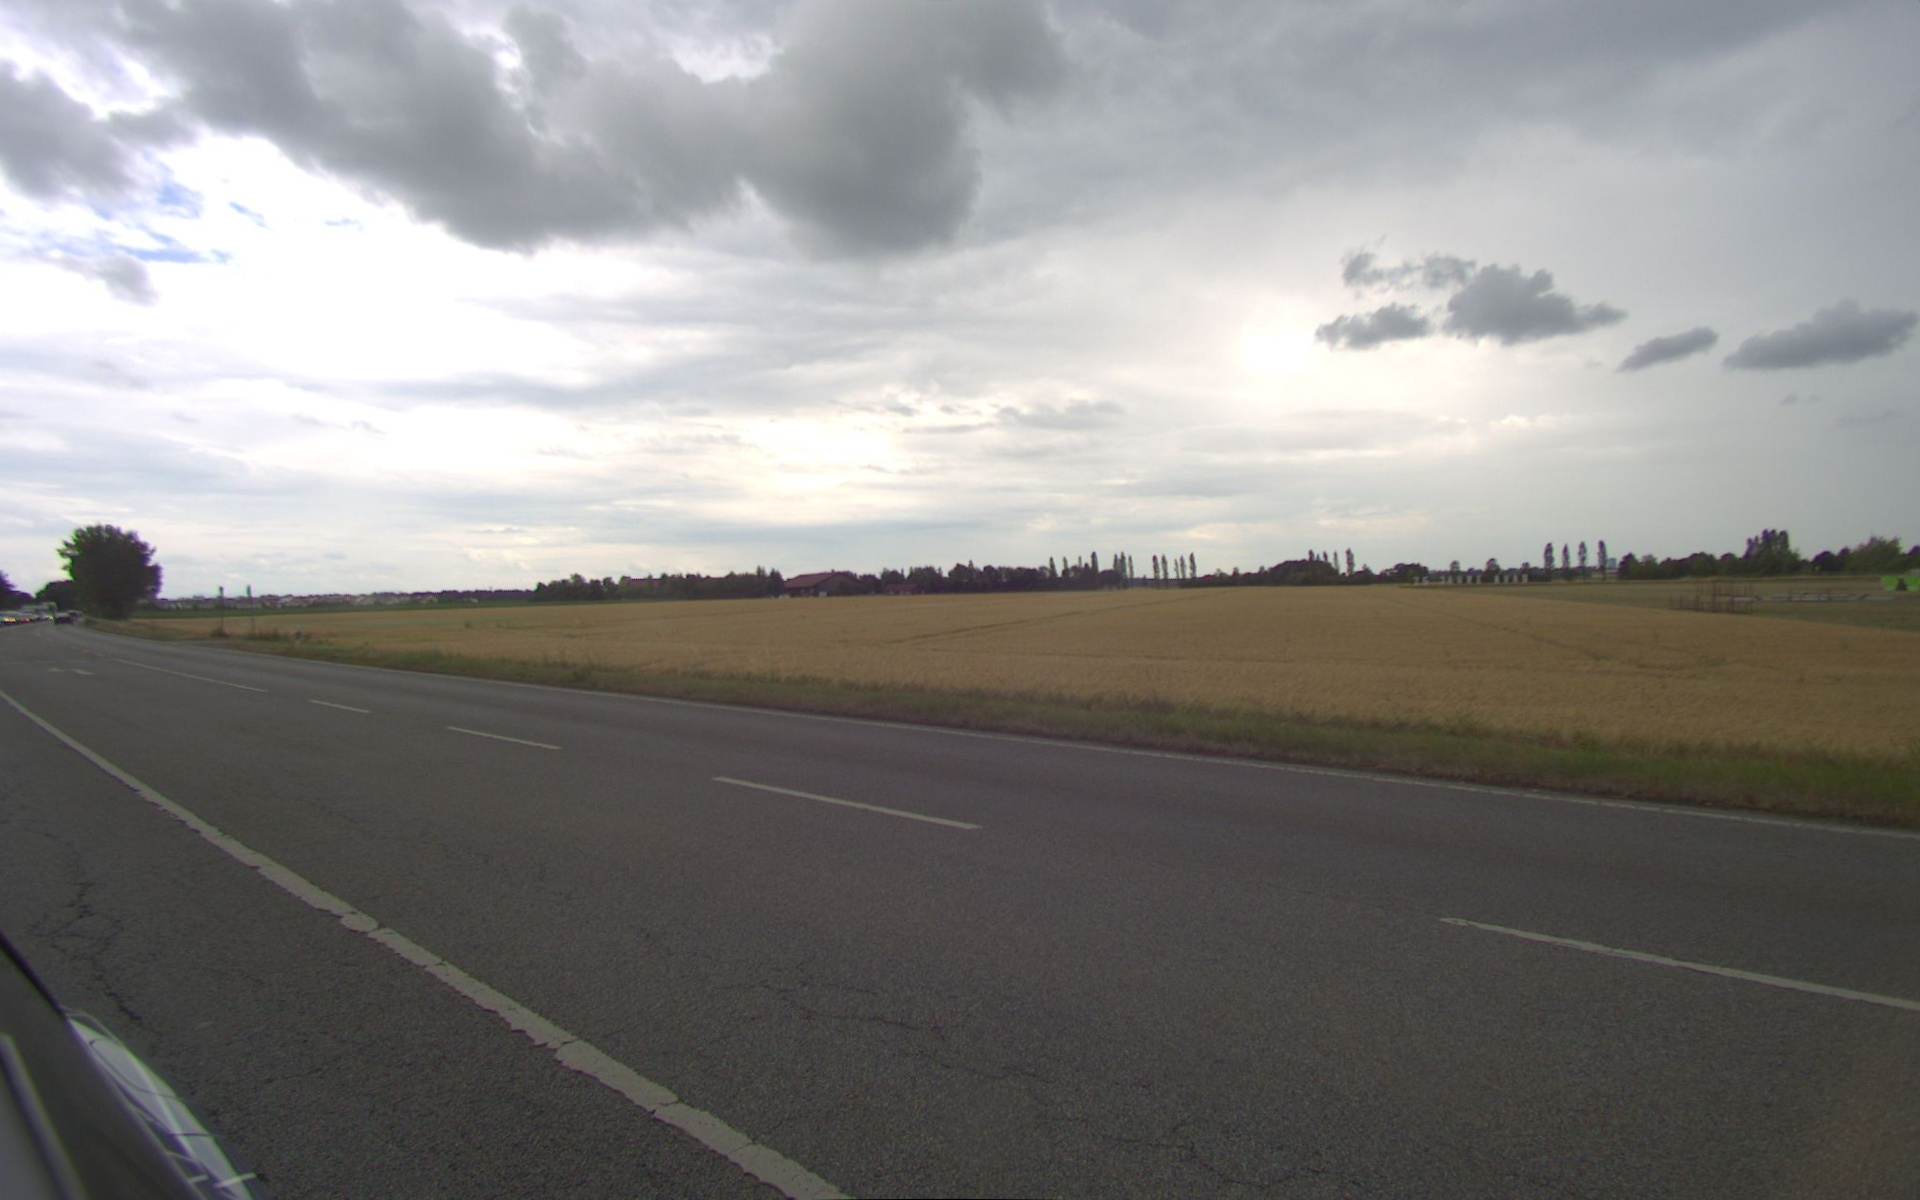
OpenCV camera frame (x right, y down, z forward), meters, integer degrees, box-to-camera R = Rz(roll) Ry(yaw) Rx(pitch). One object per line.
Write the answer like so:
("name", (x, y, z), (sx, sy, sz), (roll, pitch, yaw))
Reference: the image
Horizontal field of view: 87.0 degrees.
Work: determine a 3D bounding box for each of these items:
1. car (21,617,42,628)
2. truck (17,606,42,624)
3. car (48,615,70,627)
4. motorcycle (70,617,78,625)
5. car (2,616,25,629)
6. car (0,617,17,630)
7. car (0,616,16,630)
("car", (-138.288, 3.360, 150.729), (1.766, 1.551, 4.146), (-1, -1, -36))
("truck", (-155.556, 2.492, 169.271), (2.284, 2.786, 7.689), (-1, 0, -37))
("car", (-112.800, 2.658, 126.714), (1.803, 1.421, 4.432), (-2, 0, -39))
("motorcycle", (-137.507, 3.246, 157.084), (0.716, 1.157, 2.029), (0, -1, -37))
("car", (-124.059, 2.907, 132.735), (1.766, 1.595, 4.145), (-1, -1, -37))
("car", (-117.994, 2.868, 124.849), (1.924, 1.595, 4.146), (-1, -1, -37))
("car", (-113.164, 2.766, 119.766), (1.766, 1.595, 4.145), (-1, -1, -38))
